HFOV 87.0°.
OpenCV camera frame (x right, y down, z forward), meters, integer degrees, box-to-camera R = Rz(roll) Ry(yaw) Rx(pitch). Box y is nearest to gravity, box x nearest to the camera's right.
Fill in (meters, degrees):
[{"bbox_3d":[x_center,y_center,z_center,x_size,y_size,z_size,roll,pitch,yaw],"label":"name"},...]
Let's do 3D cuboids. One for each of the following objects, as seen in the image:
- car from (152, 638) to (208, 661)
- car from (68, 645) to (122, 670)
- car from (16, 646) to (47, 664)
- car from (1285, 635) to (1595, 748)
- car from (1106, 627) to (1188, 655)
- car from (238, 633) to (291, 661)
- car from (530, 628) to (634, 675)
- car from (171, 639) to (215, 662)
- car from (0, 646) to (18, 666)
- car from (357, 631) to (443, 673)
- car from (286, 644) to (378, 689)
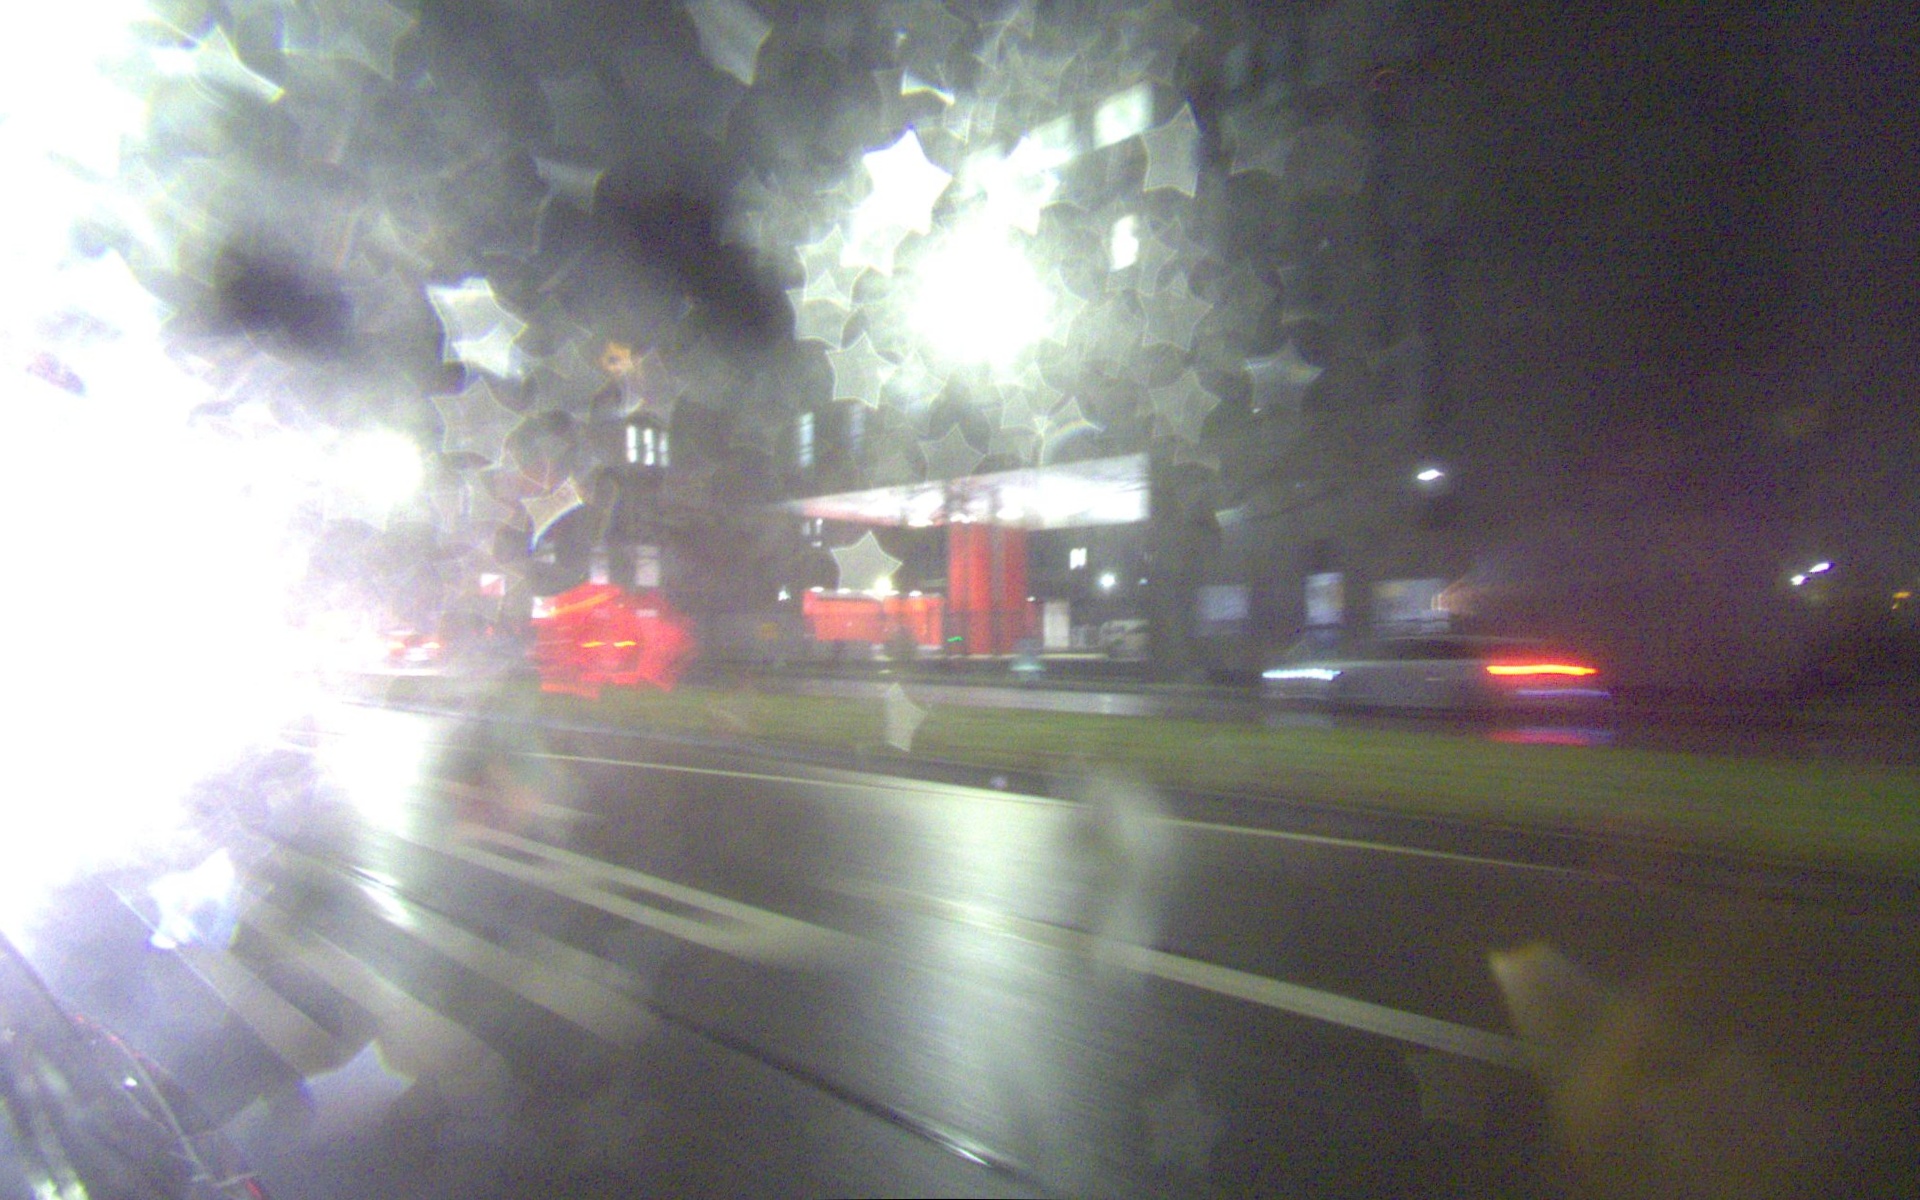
[{"bbox_3d":[-51.550,3.245,66.831,5.554,1.369,1.824,-2,-1,40],"label":"car"},{"bbox_3d":[-60.072,3.945,70.255,5.319,1.604,1.826,-2,-1,38],"label":"car"},{"bbox_3d":[-84.757,4.991,92.374,3.817,1.589,1.689,-2,-1,40],"label":"car"},{"bbox_3d":[8.350,1.493,17.844,4.545,1.697,2.003,-2,-1,41],"label":"car"},{"bbox_3d":[13.068,2.841,70.990,5.424,1.829,1.973,-2,-1,41],"label":"car"},{"bbox_3d":[-43.905,2.942,63.839,4.365,1.604,1.823,-2,-1,43],"label":"car"},{"bbox_3d":[-14.032,1.859,37.431,4.365,1.604,1.823,-2,-1,43],"label":"car"},{"bbox_3d":[-57.732,3.789,76.104,4.749,1.604,1.823,-2,-1,43],"label":"car"},{"bbox_3d":[-80.373,4.616,84.587,4.253,1.605,1.824,-2,-5,40],"label":"car"},{"bbox_3d":[-23.020,2.086,41.522,4.365,1.604,1.823,-2,-1,43],"label":"car"},{"bbox_3d":[-23.515,2.447,37.852,4.365,1.498,1.823,-2,-1,43],"label":"car"}]
